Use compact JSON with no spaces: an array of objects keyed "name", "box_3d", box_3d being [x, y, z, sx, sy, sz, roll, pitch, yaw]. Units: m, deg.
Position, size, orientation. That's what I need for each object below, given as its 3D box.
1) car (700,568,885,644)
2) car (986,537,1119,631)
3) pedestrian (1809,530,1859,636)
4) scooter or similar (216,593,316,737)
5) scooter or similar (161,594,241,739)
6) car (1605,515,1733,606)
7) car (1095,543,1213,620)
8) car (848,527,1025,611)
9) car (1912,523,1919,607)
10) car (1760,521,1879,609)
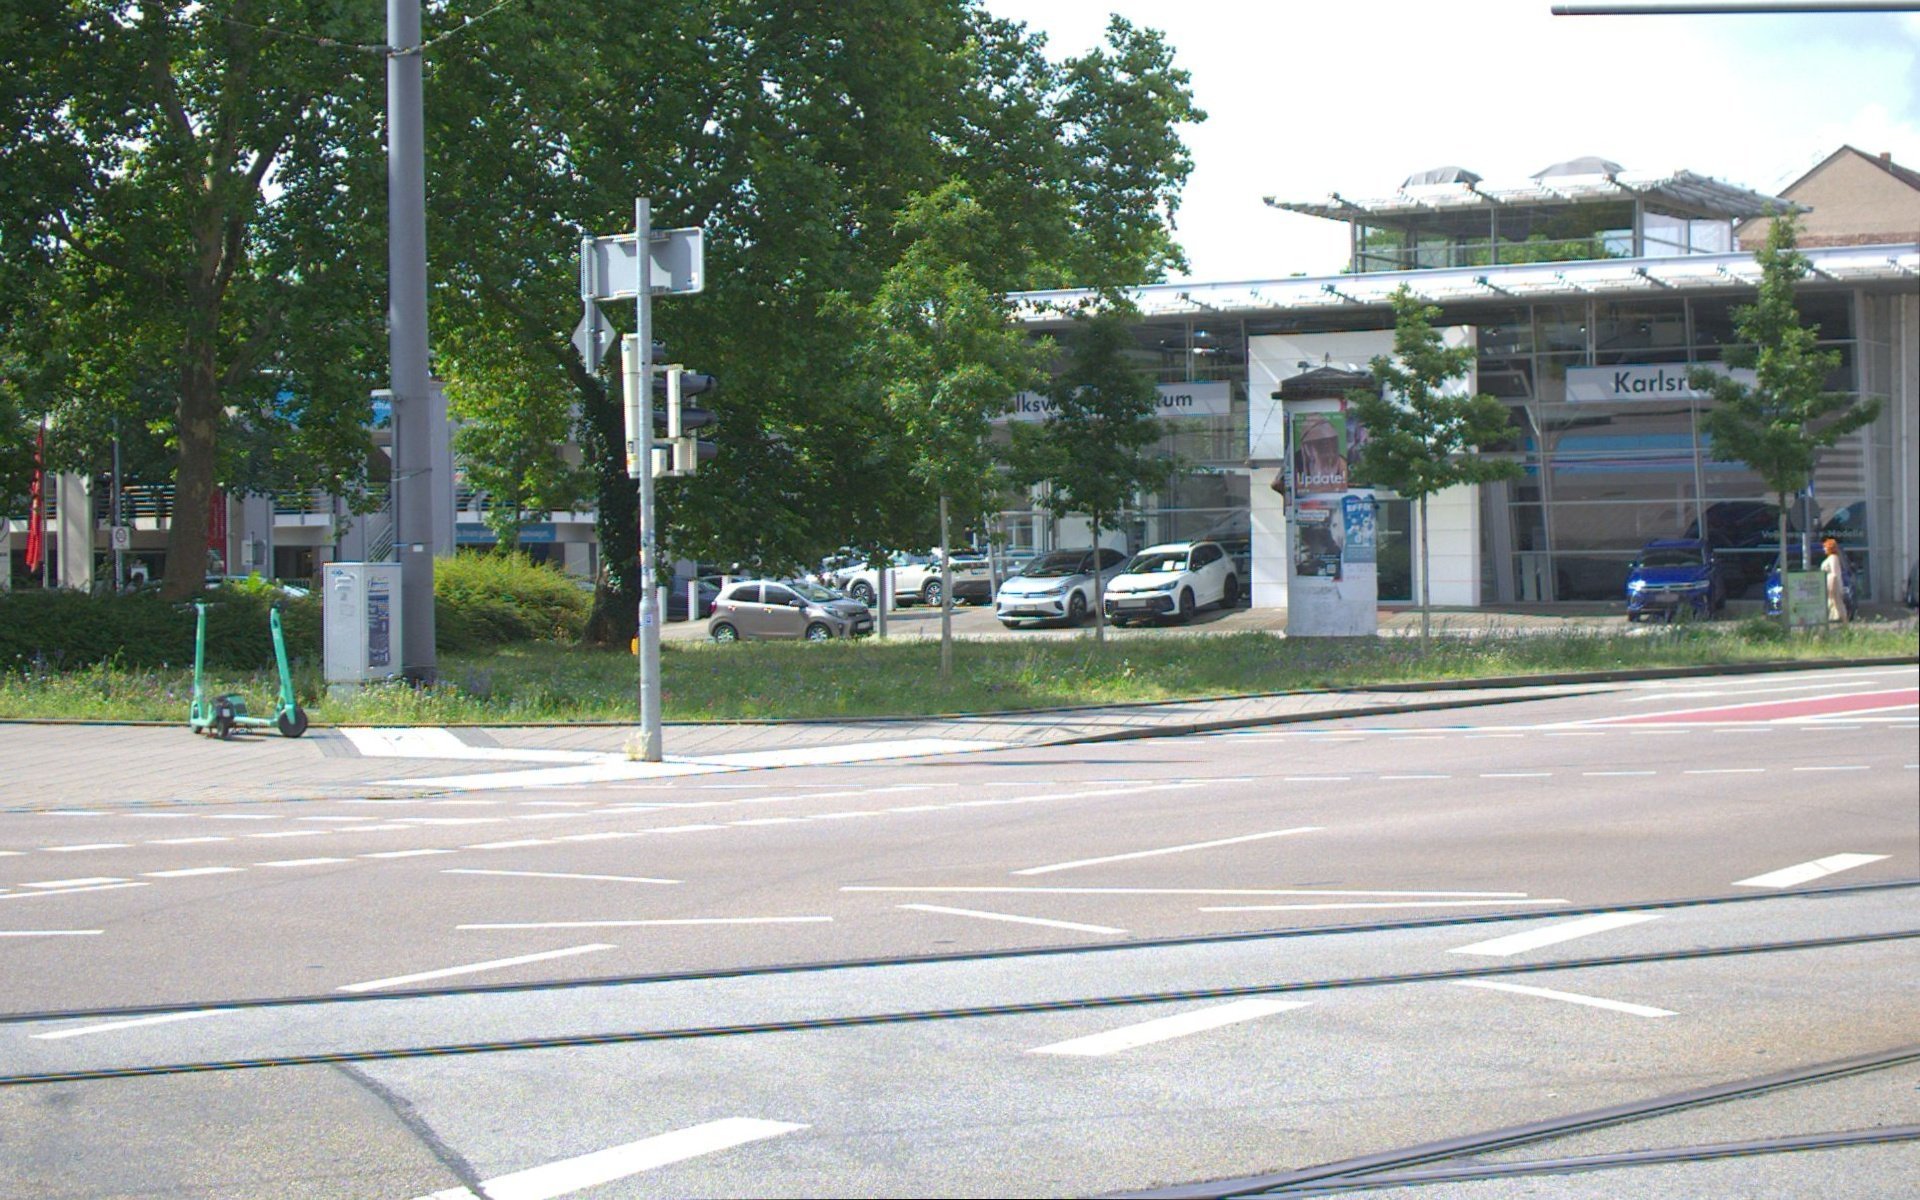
[{"name":"car","box_3d":[-3.667,0.115,75.410,3.675,1.483,1.671,3,2,26]},{"name":"car","box_3d":[2.143,-0.384,78.579,1.995,2.007,3.997,3,1,17]},{"name":"pedestrian","box_3d":[16.810,-0.326,66.114,0.808,2.007,0.807,2,1,20]},{"name":"scooter or similar","box_3d":[-5.983,0.553,29.610,0.380,1.192,1.064,1,1,-38]},{"name":"scooter or similar","box_3d":[-6.534,0.564,29.584,0.380,1.192,1.065,1,1,-28]},{"name":"car","box_3d":[14.892,-0.819,72.094,1.995,1.831,3.996,-1,0,21]},{"name":"car","box_3d":[4.434,-0.436,78.062,1.787,1.676,3.997,0,1,17]},{"name":"car","box_3d":[-0.604,-0.787,87.165,3.994,2.007,1.997,2,1,30]},{"name":"car","box_3d":[20.646,-0.693,70.800,1.930,1.678,3.997,2,1,16]},{"name":"car","box_3d":[17.761,-0.729,70.934,1.995,1.719,3.996,2,1,19]}]
